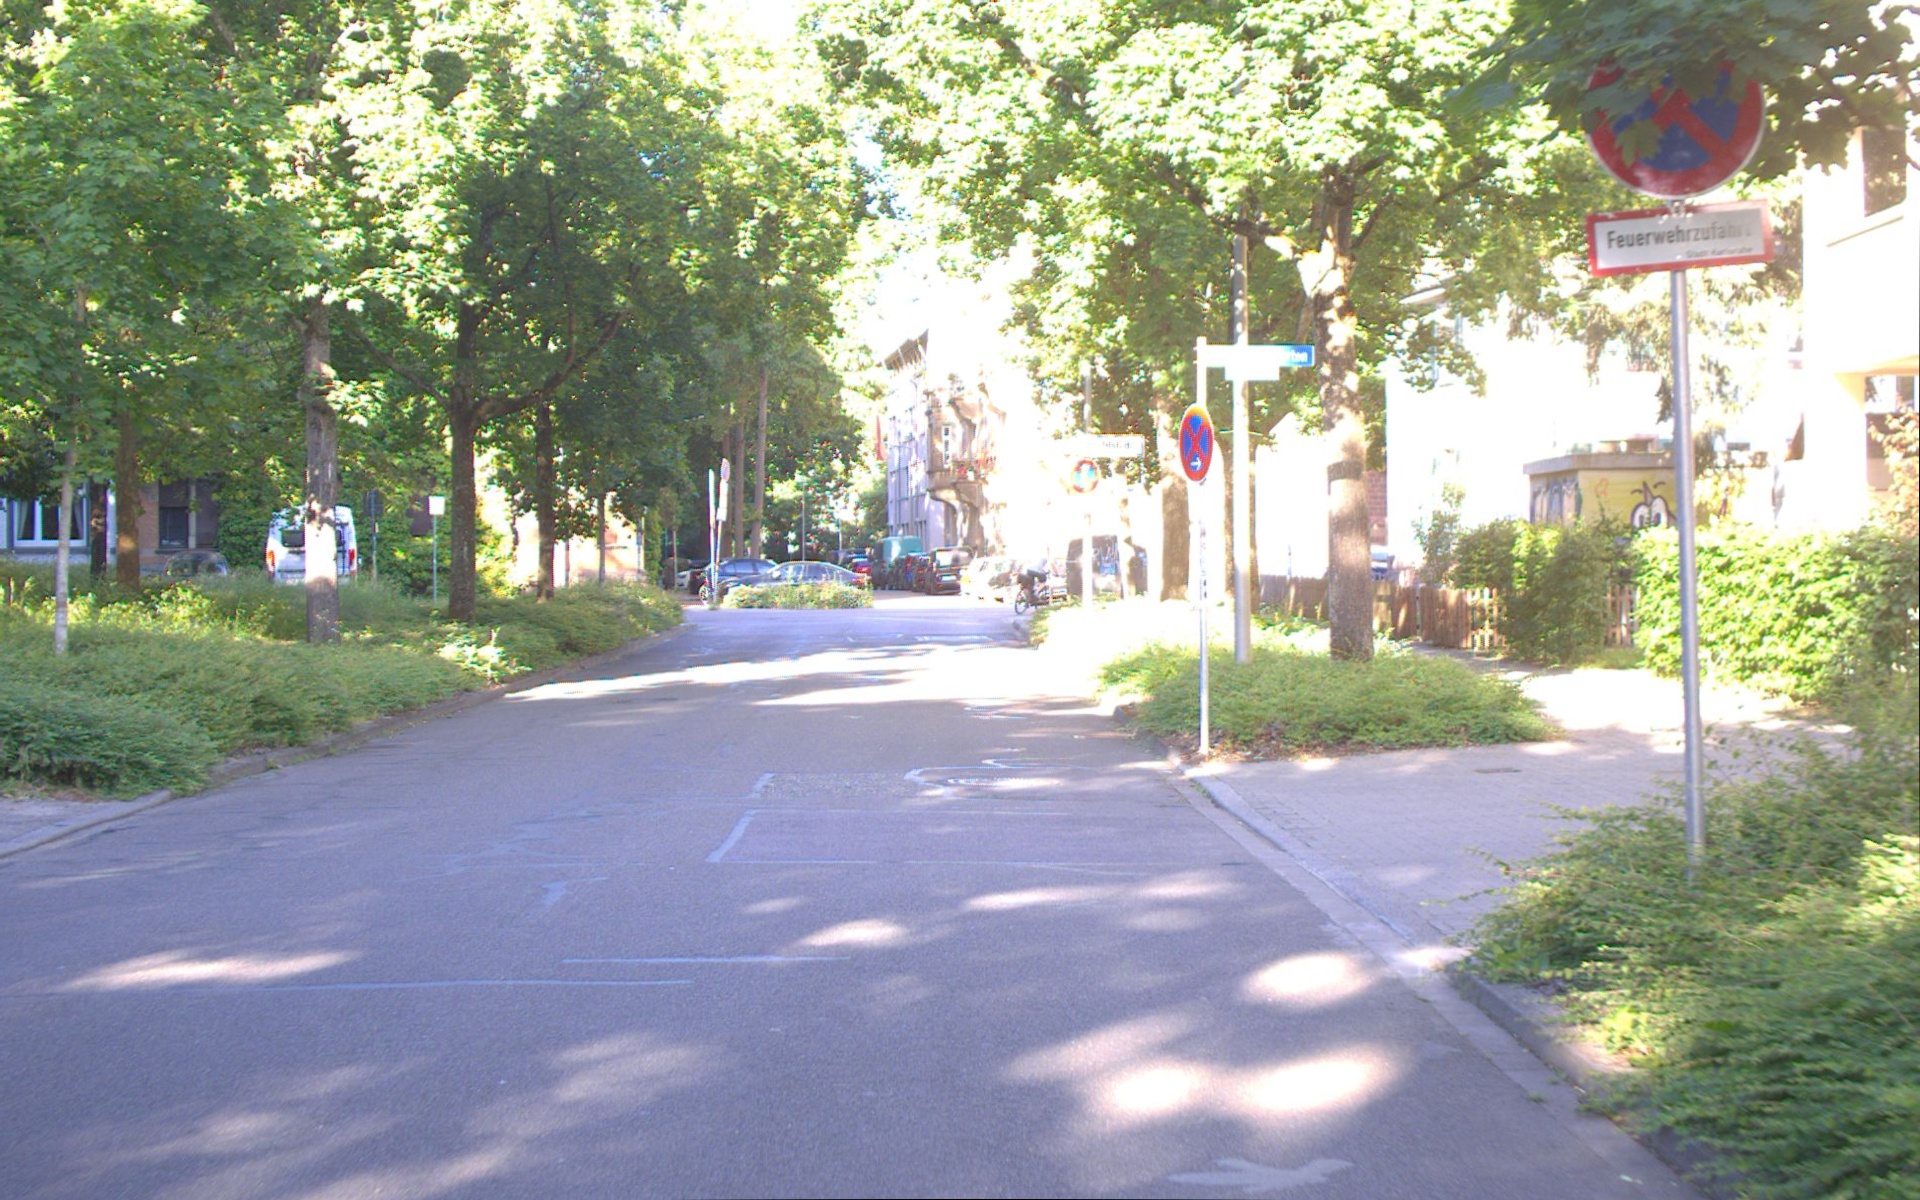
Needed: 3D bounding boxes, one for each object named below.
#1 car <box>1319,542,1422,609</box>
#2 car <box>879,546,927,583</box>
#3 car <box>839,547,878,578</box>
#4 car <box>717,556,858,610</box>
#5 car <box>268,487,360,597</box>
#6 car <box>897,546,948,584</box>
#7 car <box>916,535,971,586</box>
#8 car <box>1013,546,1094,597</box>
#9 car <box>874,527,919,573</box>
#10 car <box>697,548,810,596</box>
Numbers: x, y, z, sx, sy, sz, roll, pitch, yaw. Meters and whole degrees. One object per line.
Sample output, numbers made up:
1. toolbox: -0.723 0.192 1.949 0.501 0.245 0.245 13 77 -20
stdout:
1. car: 10.033 -0.617 84.260 1.993 1.579 3.640 1 1 -1
2. car: -2.450 -1.534 147.372 1.811 1.496 4.001 1 1 -4
3. car: -5.169 -1.897 174.437 1.811 1.496 4.001 1 1 -4
4. car: -5.125 -0.498 101.802 3.986 1.496 1.818 1 1 -8
5. car: -15.088 -1.347 80.449 1.993 2.499 4.001 1 1 -9
6. car: -1.541 -1.447 140.725 1.811 1.496 4.001 1 1 -4
7. car: -0.646 -1.539 132.584 1.811 1.919 4.001 1 1 -4
8. car: 2.801 -0.879 103.943 1.811 1.496 4.001 -1 1 -8
9. car: -2.928 -2.309 157.444 1.811 2.043 4.001 1 1 -4
10. car: -6.867 -0.932 114.133 3.586 1.505 1.500 1 1 -8
